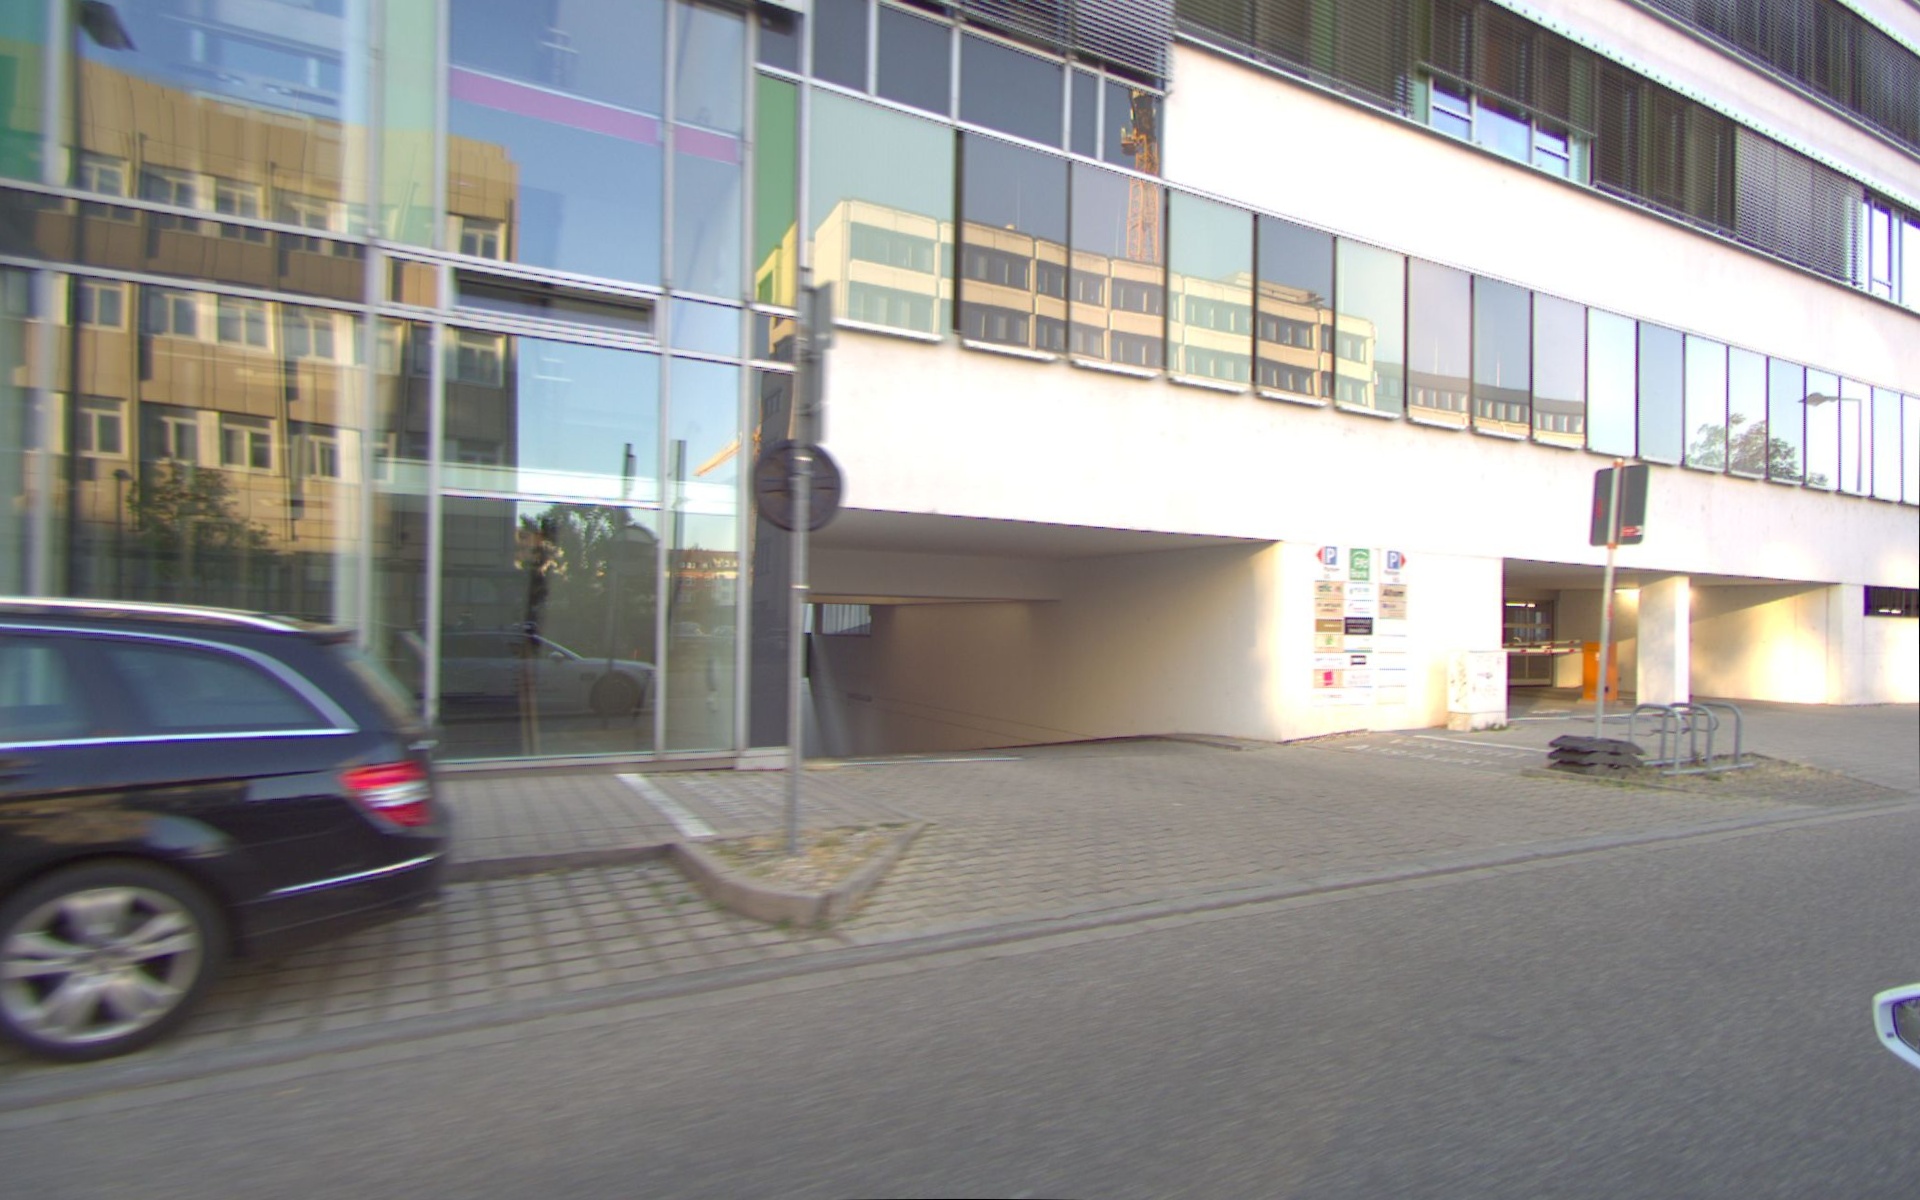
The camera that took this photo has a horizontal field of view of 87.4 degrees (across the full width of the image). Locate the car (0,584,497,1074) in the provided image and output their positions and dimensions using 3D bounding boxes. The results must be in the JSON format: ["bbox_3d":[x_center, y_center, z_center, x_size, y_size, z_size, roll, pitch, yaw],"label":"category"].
[{"bbox_3d":[-4.016,0.679,3.304,4.350,1.471,1.705,1,-1,-32],"label":"car"}]
